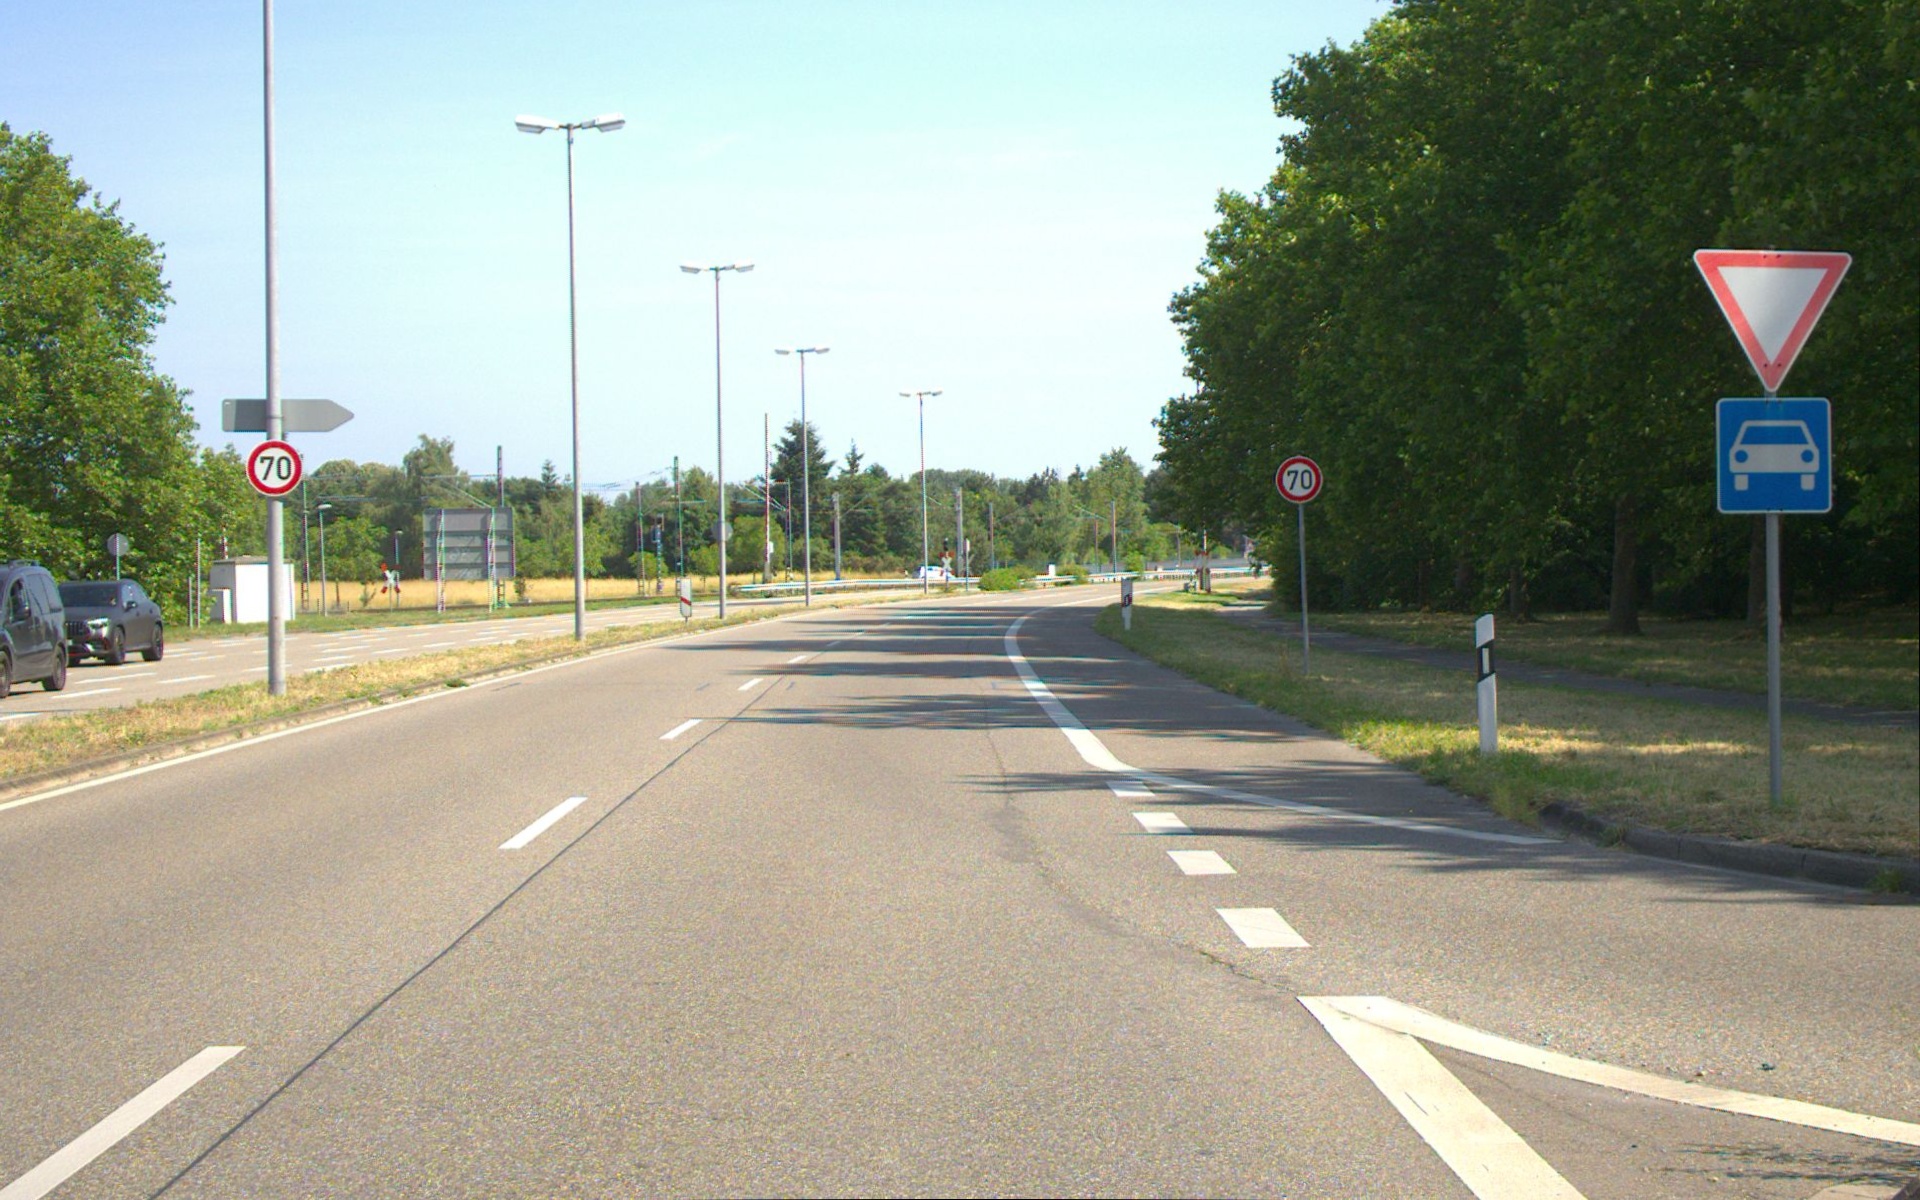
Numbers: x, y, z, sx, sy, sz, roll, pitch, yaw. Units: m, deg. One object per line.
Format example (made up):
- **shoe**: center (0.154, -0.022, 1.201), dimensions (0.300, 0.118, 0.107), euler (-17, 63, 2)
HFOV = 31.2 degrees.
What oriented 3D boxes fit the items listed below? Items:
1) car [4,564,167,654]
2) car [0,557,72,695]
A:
- **car**: center (-16.901, 0.145, 66.656), dimensions (1.982, 1.654, 4.555), euler (-1, 1, 0)
- **car**: center (-13.336, 0.337, 45.439), dimensions (1.981, 1.773, 4.490), euler (-1, 1, 0)
